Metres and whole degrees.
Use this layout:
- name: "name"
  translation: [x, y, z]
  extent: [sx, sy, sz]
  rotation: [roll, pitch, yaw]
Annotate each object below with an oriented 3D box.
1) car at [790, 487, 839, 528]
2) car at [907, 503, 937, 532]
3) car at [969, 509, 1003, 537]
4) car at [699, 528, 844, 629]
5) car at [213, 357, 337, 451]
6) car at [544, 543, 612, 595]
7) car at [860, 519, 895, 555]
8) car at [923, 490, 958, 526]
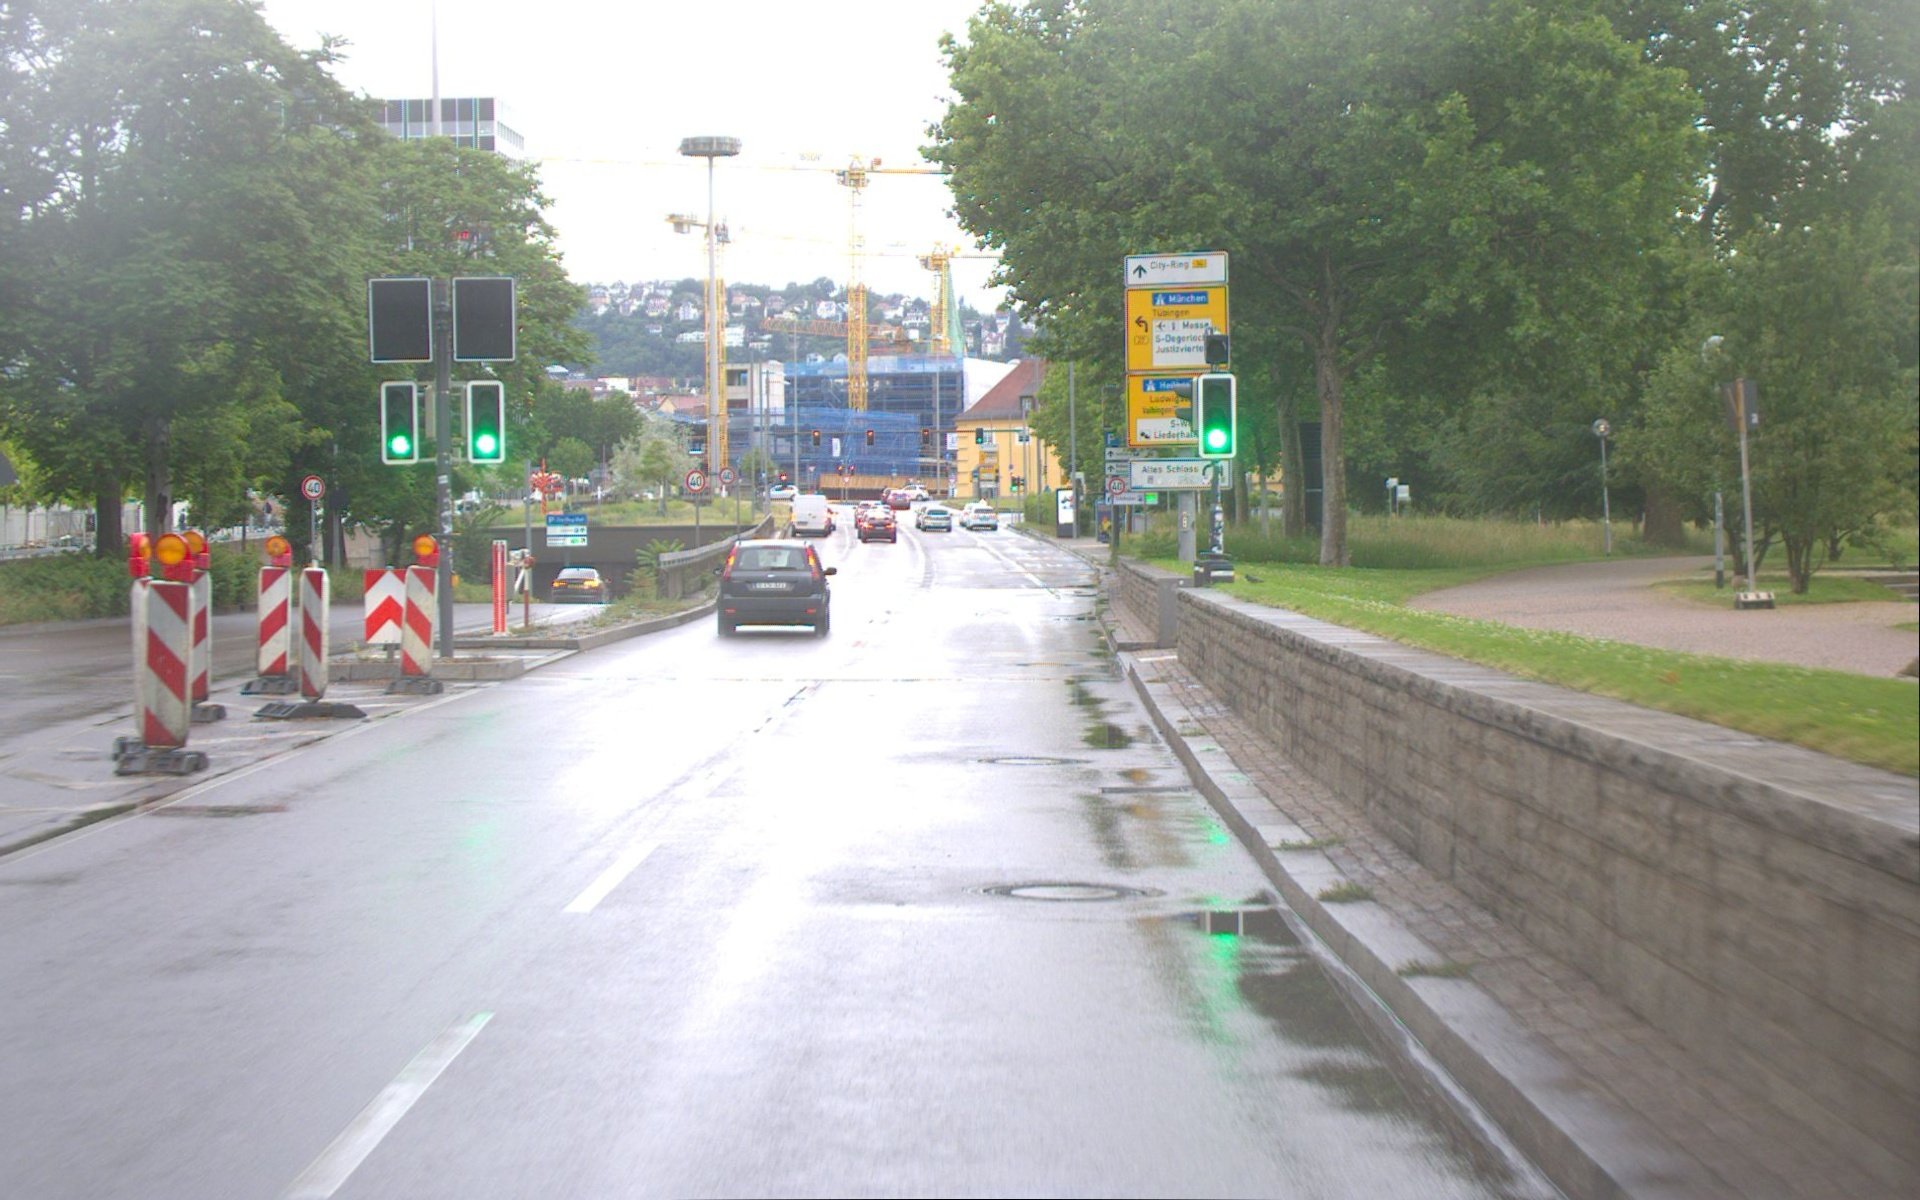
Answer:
- name: "car"
  translation: [-8.047, -5.101, 190.473]
  extent: [2.220, 2.007, 4.000]
  rotation: [4, 0, 2]
- name: "car"
  translation: [-2.354, -5.112, 213.357]
  extent: [1.713, 1.684, 3.849]
  rotation: [-2, 0, 1]
- name: "car"
  translation: [1.619, -4.772, 212.523]
  extent: [1.993, 1.594, 4.000]
  rotation: [-2, 0, 1]
- name: "car"
  translation: [-2.891, -0.315, 52.033]
  extent: [1.843, 1.411, 3.840]
  rotation: [-2, 0, -8]
- name: "car"
  translation: [-13.149, -3.745, 66.190]
  extent: [1.993, 1.626, 4.001]
  rotation: [0, 1, -6]
- name: "car"
  translation: [-13.584, -1.127, 122.341]
  extent: [1.993, 1.774, 4.000]
  rotation: [-1, 1, -1]
- name: "car"
  translation: [-4.324, -3.314, 180.357]
  extent: [1.739, 1.765, 4.000]
  rotation: [-2, 0, -1]
- name: "car"
  translation: [-1.178, -5.514, 207.146]
  extent: [1.987, 2.007, 4.000]
  rotation: [-2, 0, -1]
